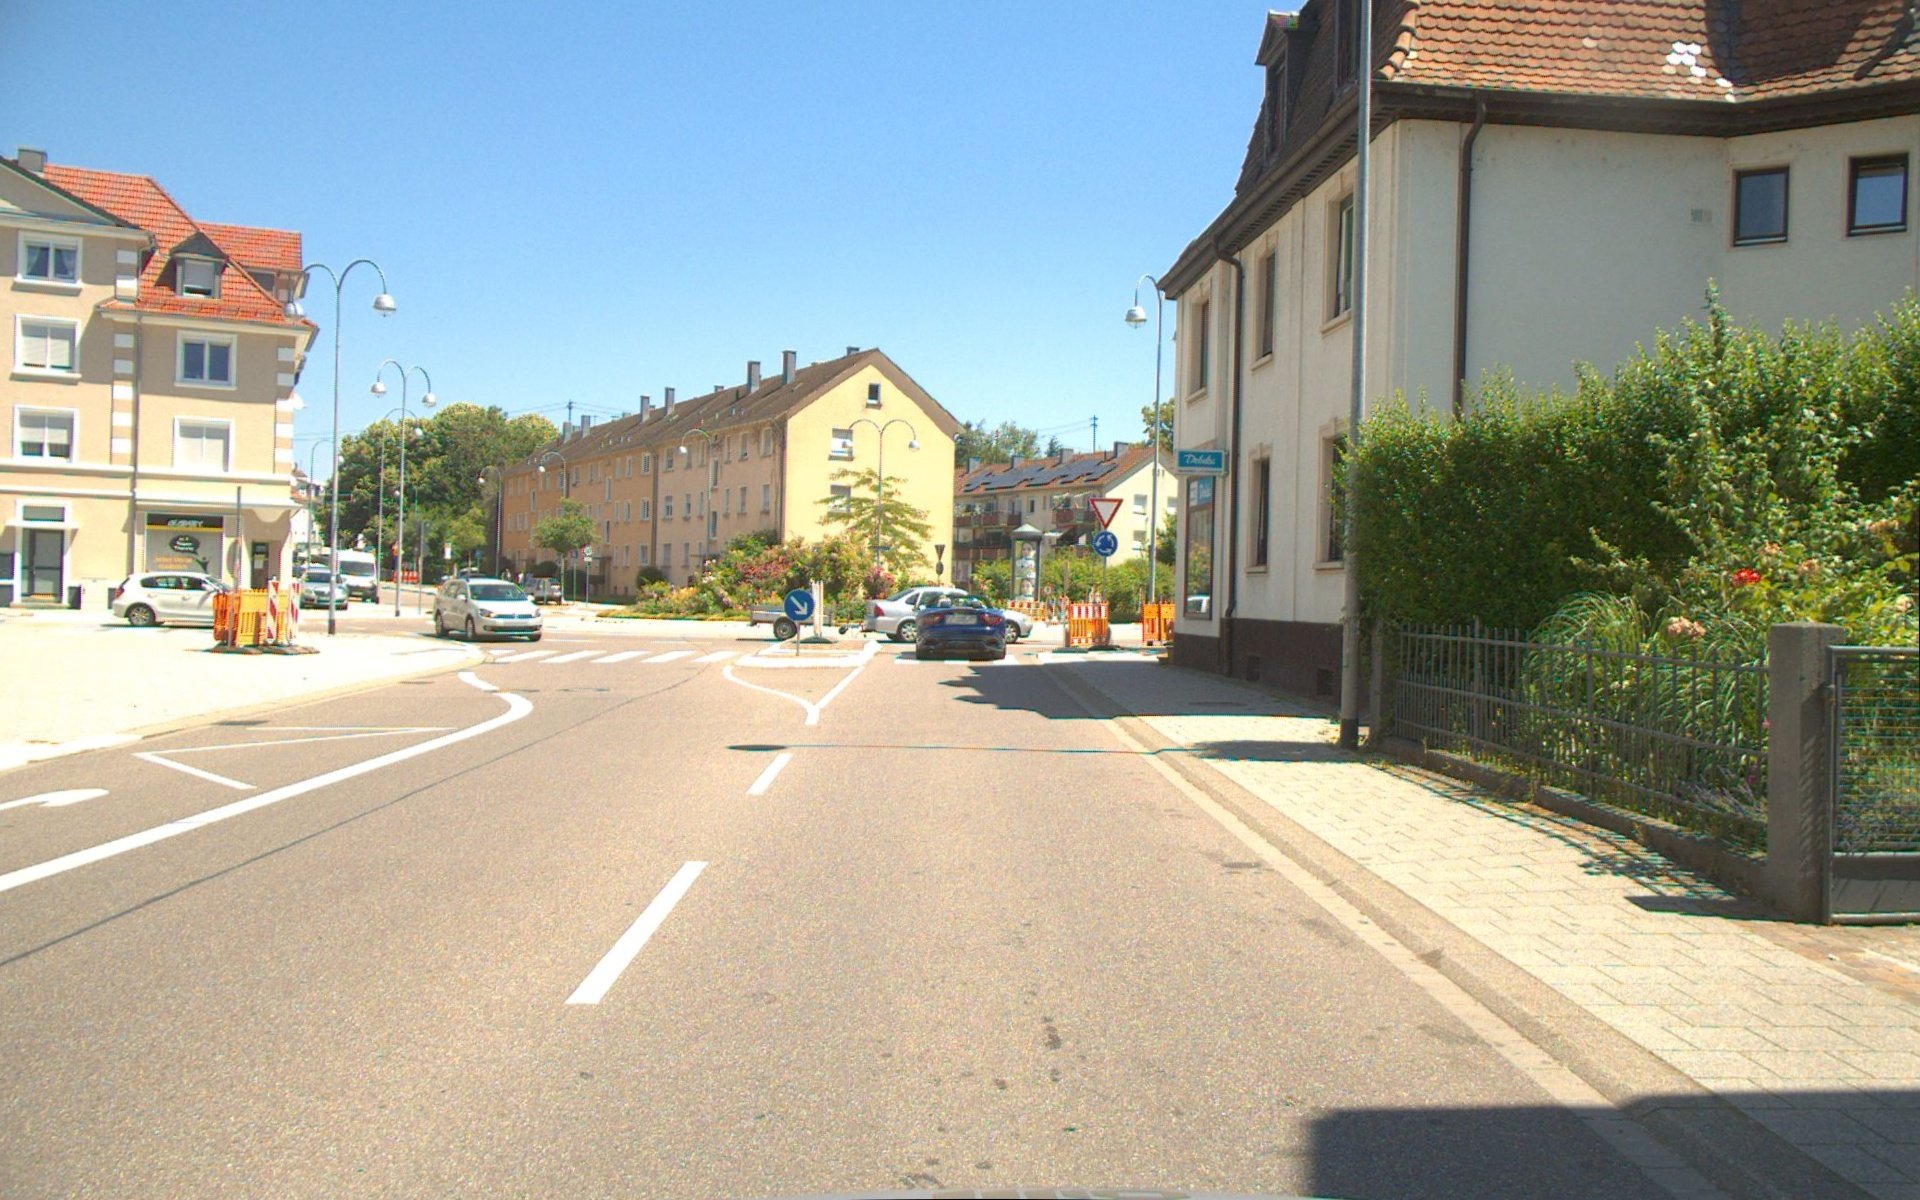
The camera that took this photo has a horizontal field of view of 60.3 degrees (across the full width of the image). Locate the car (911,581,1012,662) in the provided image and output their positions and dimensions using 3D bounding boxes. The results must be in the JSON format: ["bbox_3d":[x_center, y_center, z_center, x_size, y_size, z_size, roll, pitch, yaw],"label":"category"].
[{"bbox_3d":[-0.033,0.487,35.230,1.834,1.557,4.503,2,-1,-4],"label":"car"}]

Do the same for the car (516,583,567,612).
[{"bbox_3d":[-24.022,-0.151,94.837,1.793,1.526,3.960,4,-1,-30],"label":"car"}]

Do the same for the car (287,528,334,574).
[{"bbox_3d":[-39.365,-2.955,100.193,2.119,2.577,4.813,4,-1,-27],"label":"car"}]

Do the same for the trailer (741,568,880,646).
[{"bbox_3d":[-3.776,0.183,41.553,3.137,1.747,1.748,3,-1,-17],"label":"trailer"}]

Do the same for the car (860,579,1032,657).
[{"bbox_3d":[-0.376,0.471,42.695,4.049,1.777,1.779,3,-1,-17],"label":"car"}]

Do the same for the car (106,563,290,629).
[{"bbox_3d":[-19.962,-0.099,43.500,4.045,1.578,1.781,2,0,-14],"label":"car"}]

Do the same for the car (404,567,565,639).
[{"bbox_3d":[-11.831,0.097,41.020,4.317,1.556,1.833,-1,4,44],"label":"car"}]

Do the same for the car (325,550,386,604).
[{"bbox_3d":[-31.311,-1.172,85.566,2.119,2.577,6.183,4,-1,-27],"label":"car"}]

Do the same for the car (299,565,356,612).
[{"bbox_3d":[-24.609,-0.470,64.241,1.753,1.715,4.658,2,0,-25],"label":"car"}]

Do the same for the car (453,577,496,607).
[{"bbox_3d":[-32.036,-0.551,109.064,1.793,1.825,3.960,3,-1,-30],"label":"car"}]
